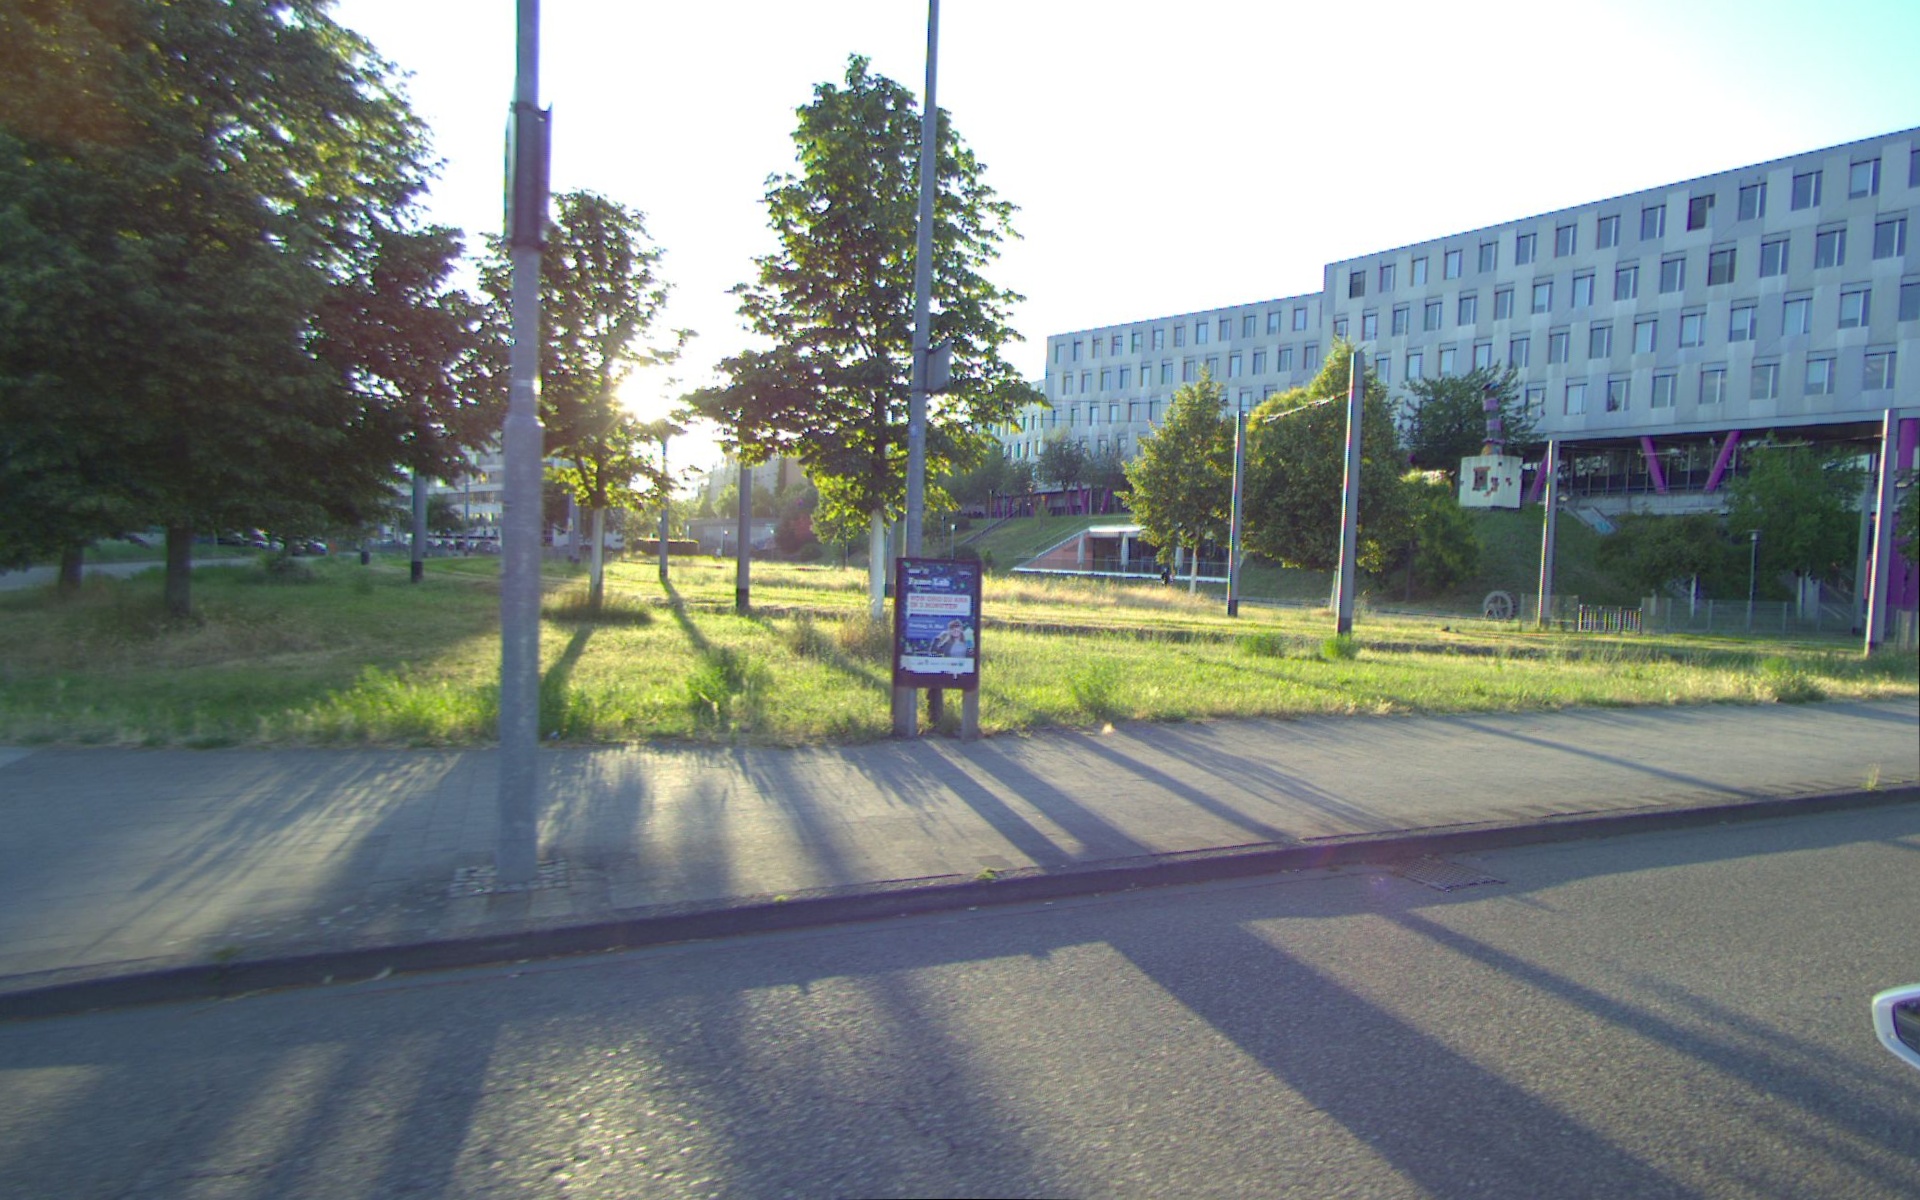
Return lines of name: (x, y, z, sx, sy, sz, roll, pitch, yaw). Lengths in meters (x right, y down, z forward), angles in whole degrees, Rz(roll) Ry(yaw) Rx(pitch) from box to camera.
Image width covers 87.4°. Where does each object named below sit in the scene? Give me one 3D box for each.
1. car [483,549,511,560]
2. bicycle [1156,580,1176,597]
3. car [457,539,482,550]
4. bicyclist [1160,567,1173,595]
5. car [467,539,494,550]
car: (-70.879, -6.918, 153.763, 3.825, 1.635, 1.692, 0, 3, -24)
bicycle: (11.320, -0.626, 55.114, 0.425, 0.912, 1.228, 0, 3, -24)
car: (-82.215, -9.312, 168.391, 3.752, 1.635, 1.642, 0, 3, -24)
bicyclist: (11.322, -1.043, 55.103, 0.418, 1.515, 0.511, 0, 3, -23)
car: (-76.935, -8.887, 161.234, 3.752, 1.635, 1.642, 0, 3, -24)
